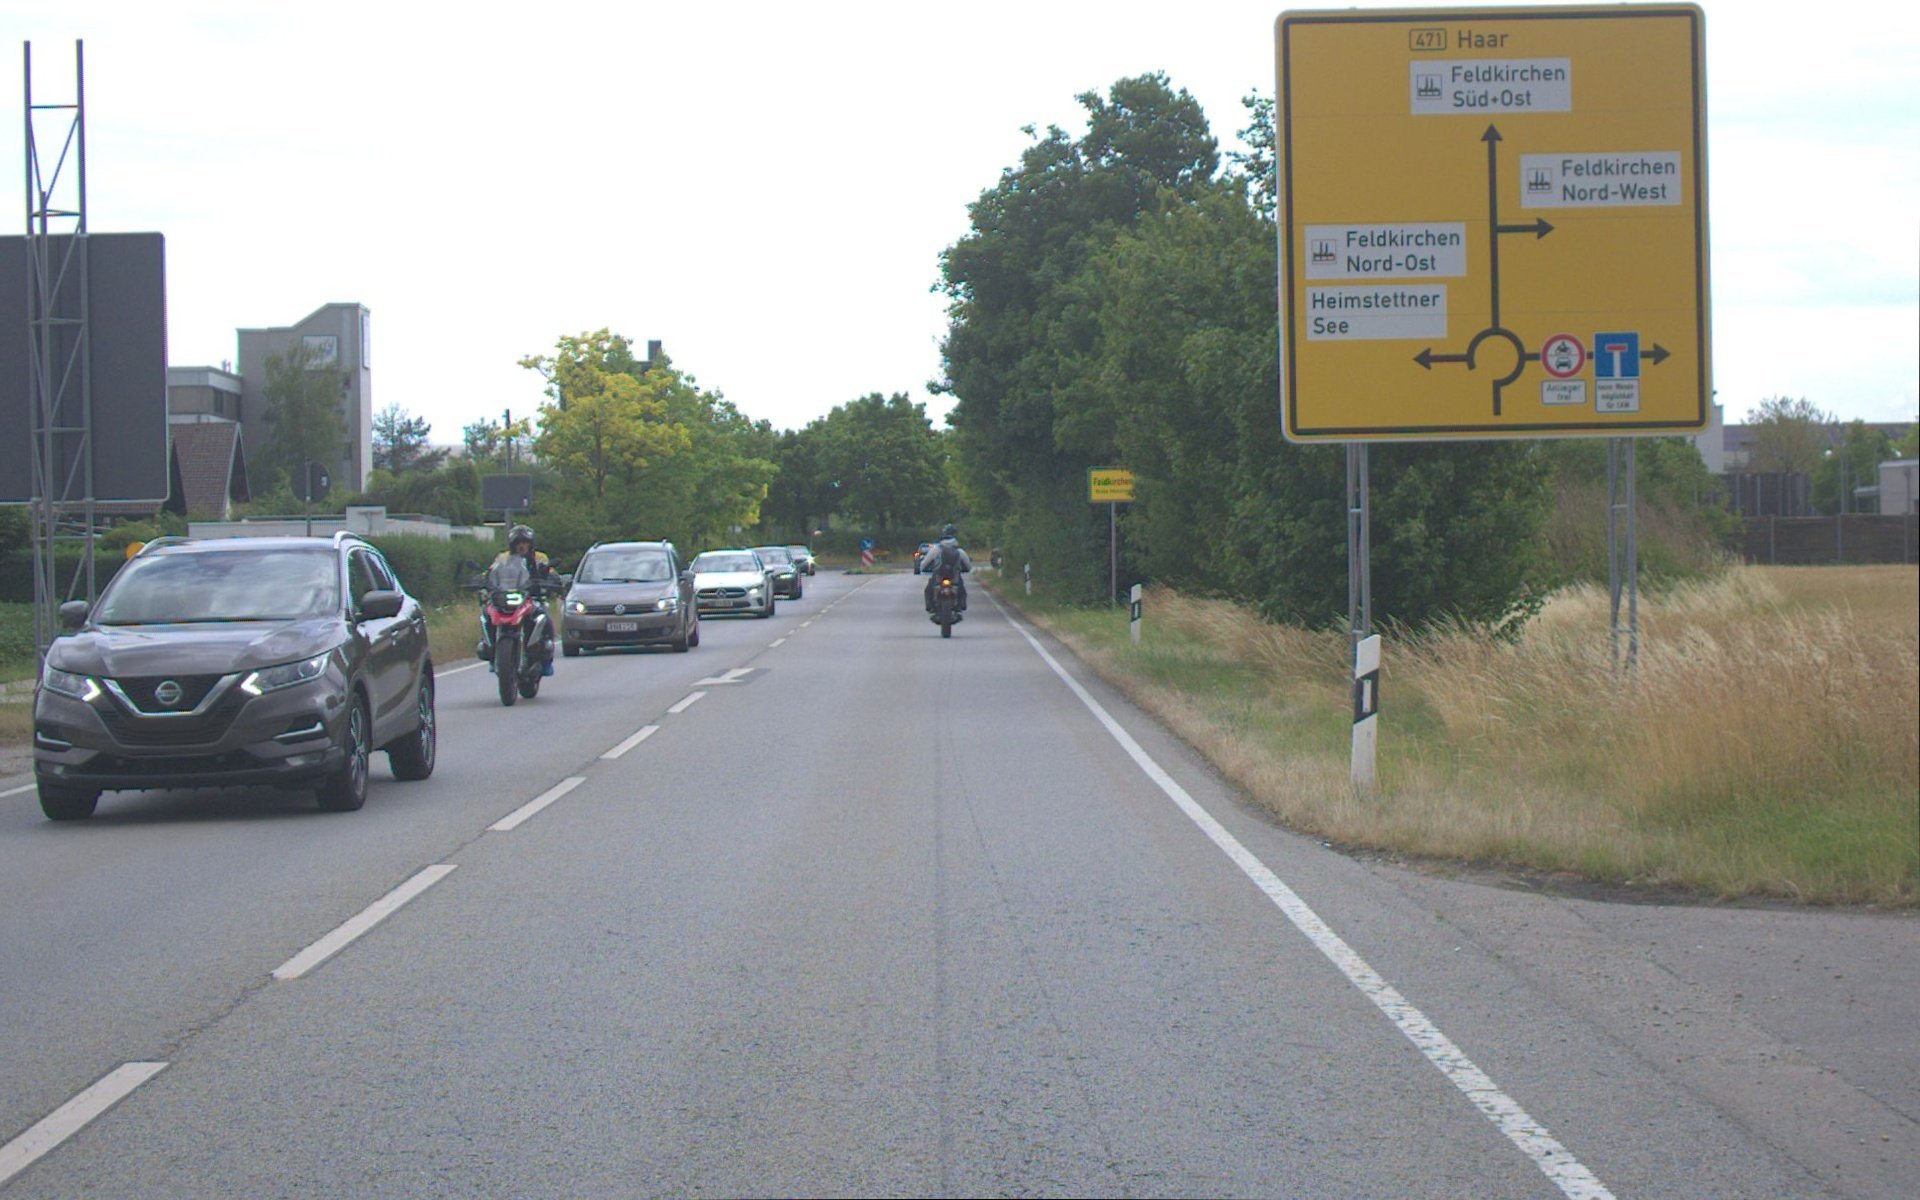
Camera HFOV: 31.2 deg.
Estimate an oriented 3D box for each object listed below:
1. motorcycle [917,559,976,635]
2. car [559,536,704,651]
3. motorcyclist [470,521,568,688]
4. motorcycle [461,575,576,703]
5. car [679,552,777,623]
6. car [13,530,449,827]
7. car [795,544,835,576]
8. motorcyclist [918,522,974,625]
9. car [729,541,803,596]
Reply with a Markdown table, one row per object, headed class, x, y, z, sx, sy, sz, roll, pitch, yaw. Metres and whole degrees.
| class | x | y | z | sx | sy | sz | roll | pitch | yaw |
| --- | --- | --- | --- | --- | --- | --- | --- | --- | --- |
| motorcycle | -0.218 | -0.063 | 54.661 | 0.896 | 1.154 | 2.620 | -1 | 1 | -1 |
| car | -4.688 | -0.125 | 49.544 | 1.704 | 1.534 | 4.302 | -2 | 1 | -1 |
| motorcyclist | -4.218 | 0.036 | 32.951 | 0.797 | 1.568 | 1.078 | -1 | 1 | -1 |
| motorcycle | -4.214 | 0.348 | 32.964 | 0.797 | 1.154 | 2.620 | -1 | 1 | -1 |
| car | -4.785 | -0.276 | 71.408 | 1.773 | 1.368 | 4.100 | -2 | 1 | -1 |
| car | -4.312 | 0.391 | 21.008 | 1.729 | 1.581 | 4.505 | -1 | 1 | -1 |
| car | -7.123 | -1.974 | 169.675 | 1.815 | 1.489 | 4.204 | -2 | 1 | -1 |
| motorcyclist | -0.225 | -0.430 | 54.636 | 0.861 | 1.618 | 1.191 | -1 | 1 | -1 |
| car | -5.355 | -0.884 | 95.389 | 1.852 | 1.459 | 4.371 | -1 | 1 | -1 |
